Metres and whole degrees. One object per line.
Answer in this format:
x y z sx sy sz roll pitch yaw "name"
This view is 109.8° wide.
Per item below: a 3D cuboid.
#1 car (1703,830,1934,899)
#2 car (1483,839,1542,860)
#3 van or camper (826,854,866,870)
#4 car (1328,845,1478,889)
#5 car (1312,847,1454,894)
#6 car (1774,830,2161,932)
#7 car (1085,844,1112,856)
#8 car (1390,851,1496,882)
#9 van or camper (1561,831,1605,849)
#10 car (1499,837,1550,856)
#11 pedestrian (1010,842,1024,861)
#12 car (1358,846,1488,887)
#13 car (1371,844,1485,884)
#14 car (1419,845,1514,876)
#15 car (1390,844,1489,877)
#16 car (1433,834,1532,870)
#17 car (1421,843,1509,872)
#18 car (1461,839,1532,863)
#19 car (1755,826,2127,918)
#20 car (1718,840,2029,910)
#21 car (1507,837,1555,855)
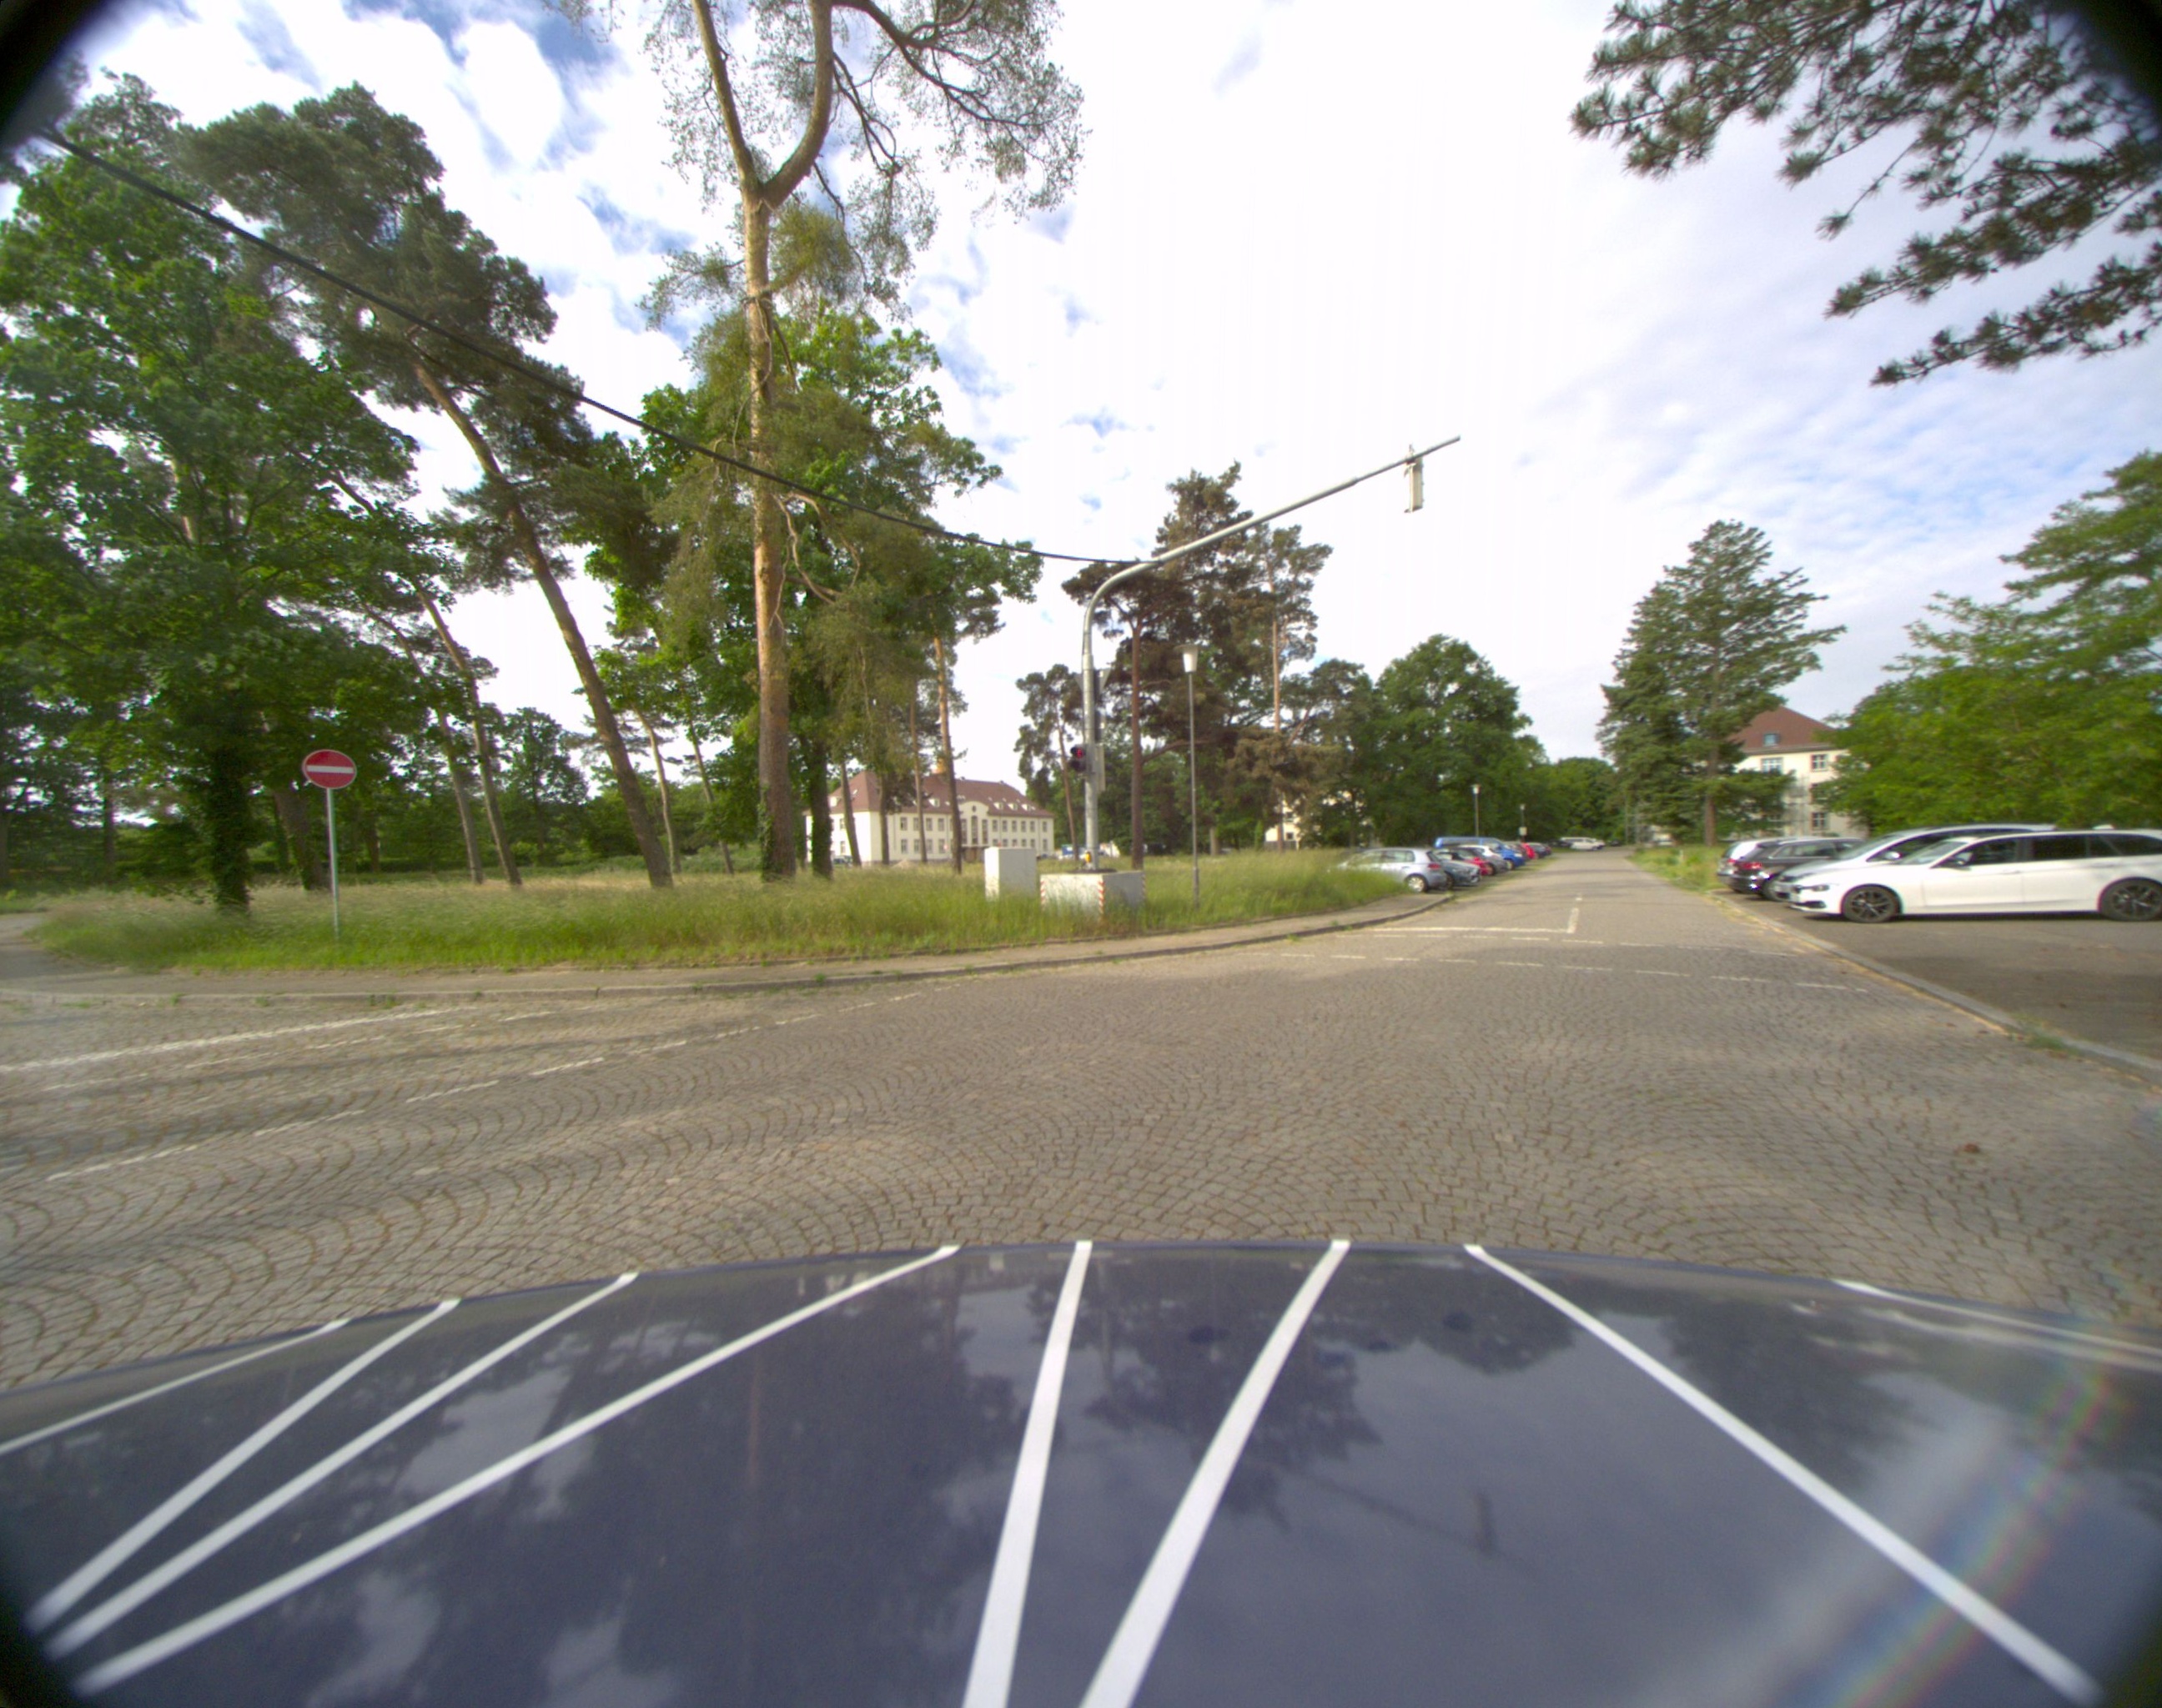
19.036 0.291 19.881 3.978 1.447 1.684 -5 -1 30 "car"
34.278 -0.375 60.365 3.989 1.560 2.004 -1 1 32 "car"
-36.273 1.227 117.377 6.111 2.293 2.470 -1 1 32 "van or camper"
11.398 0.446 27.056 4.620 1.437 1.800 -1 1 35 "car"
9.853 0.518 24.868 3.989 1.410 1.800 -1 1 36 "car"
15.153 0.481 12.804 4.809 1.431 1.917 -4 -1 32 "car"
2.944 -0.663 127.364 2.161 2.002 4.844 -1 1 33 "car"
15.774 0.540 33.184 3.925 1.227 1.800 -1 1 36 "car"
73.317 -2.036 111.095 5.237 2.449 2.213 -1 1 32 "van or camper"
40.166 -0.685 68.848 3.783 1.560 2.004 -1 1 36 "car"
-7.413 -0.292 88.291 1.181 2.165 1.058 -1 1 35 "pedestrian"
13.096 0.466 29.199 4.258 1.437 1.800 -1 1 37 "car"
14.230 0.398 31.239 3.925 1.504 1.800 -1 1 37 "car"
18.974 0.305 37.442 3.925 1.427 1.800 -1 1 35 "car"
16.801 0.312 35.694 3.925 1.467 1.800 -1 1 36 "car"
23.433 -0.117 44.441 4.831 2.002 2.004 -1 1 39 "car"
20.320 0.198 40.290 3.925 1.441 1.800 -1 1 35 "car"
28.374 -0.201 51.907 3.988 1.496 1.873 -1 1 37 "car"
16.533 0.394 15.023 4.476 1.580 1.851 -3 0 31 "car"
17.782 0.444 17.442 4.622 1.414 1.888 -1 1 32 "car"
42.870 -0.800 72.435 3.783 1.615 2.004 -1 1 36 "car"
